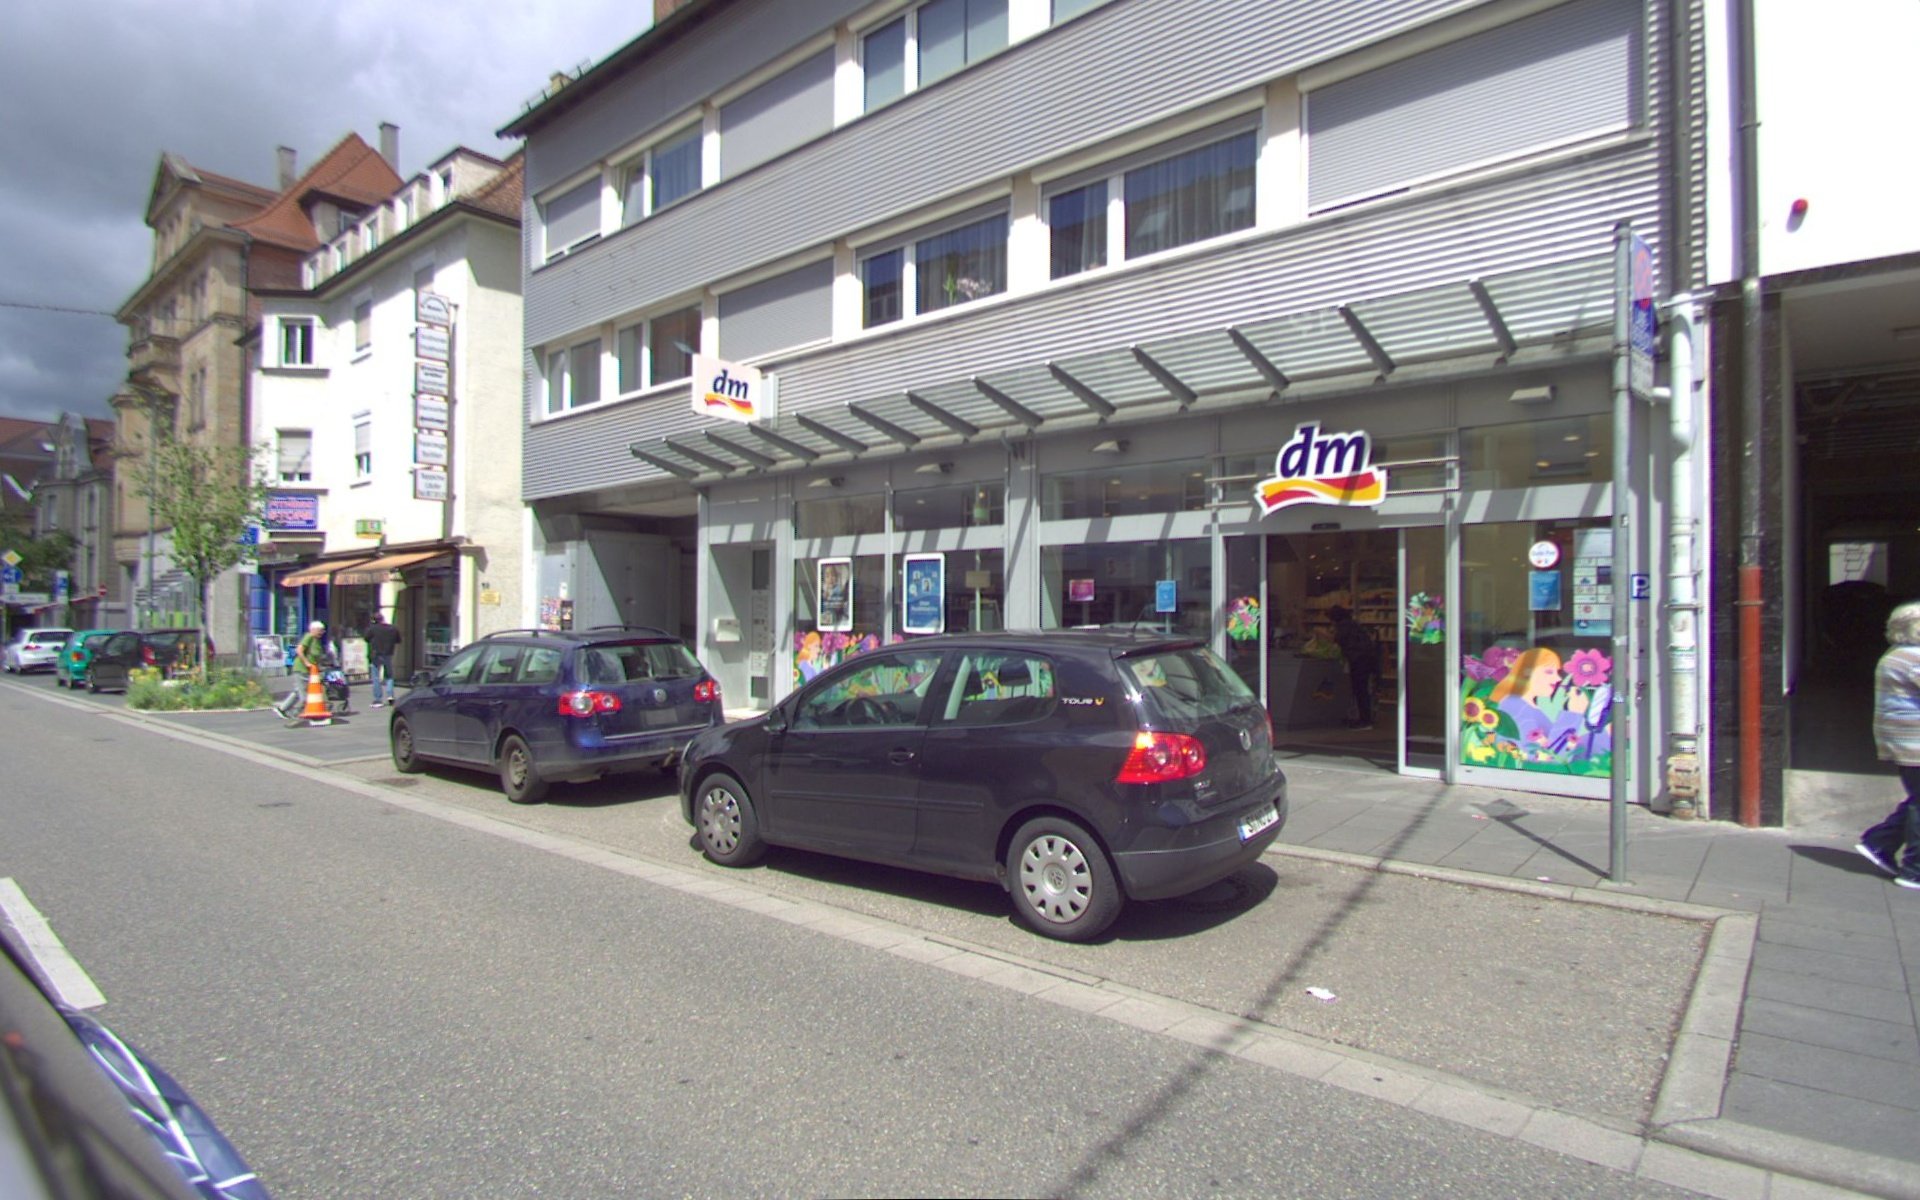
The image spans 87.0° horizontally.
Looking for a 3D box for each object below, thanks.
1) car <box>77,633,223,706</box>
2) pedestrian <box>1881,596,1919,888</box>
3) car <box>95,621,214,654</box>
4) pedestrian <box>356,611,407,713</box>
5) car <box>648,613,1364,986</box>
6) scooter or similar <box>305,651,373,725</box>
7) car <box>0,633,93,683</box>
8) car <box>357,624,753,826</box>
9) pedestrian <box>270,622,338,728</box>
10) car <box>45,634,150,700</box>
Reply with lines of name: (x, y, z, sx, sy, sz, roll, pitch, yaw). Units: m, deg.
car: (-18.240, 1.500, 22.762, 3.547, 1.457, 1.584, -1, 0, 34)
pedestrian: (5.167, 0.716, 5.236, 0.563, 1.466, 0.647, -1, 0, 41)
car: (-40.773, 1.868, 51.359, 1.985, 1.391, 4.358, -1, 1, 20)
pedestrian: (-10.416, 1.096, 18.213, 0.728, 1.770, 0.543, -1, 0, 38)
car: (0.064, 0.862, 6.234, 4.173, 1.515, 1.773, -1, 0, 39)
scooter or similar: (-10.252, 1.428, 16.707, 0.629, 1.134, 0.774, -1, 0, 36)
car: (-29.923, 1.854, 32.952, 4.031, 1.408, 1.828, -1, 0, 38)
car: (-4.245, 1.051, 10.162, 4.711, 1.524, 1.771, -2, -1, 42)
pedestrian: (-10.605, 1.187, 16.364, 0.650, 1.630, 0.724, -1, 0, 36)
car: (-21.883, 1.641, 25.626, 3.668, 1.425, 1.569, -1, 0, 42)
